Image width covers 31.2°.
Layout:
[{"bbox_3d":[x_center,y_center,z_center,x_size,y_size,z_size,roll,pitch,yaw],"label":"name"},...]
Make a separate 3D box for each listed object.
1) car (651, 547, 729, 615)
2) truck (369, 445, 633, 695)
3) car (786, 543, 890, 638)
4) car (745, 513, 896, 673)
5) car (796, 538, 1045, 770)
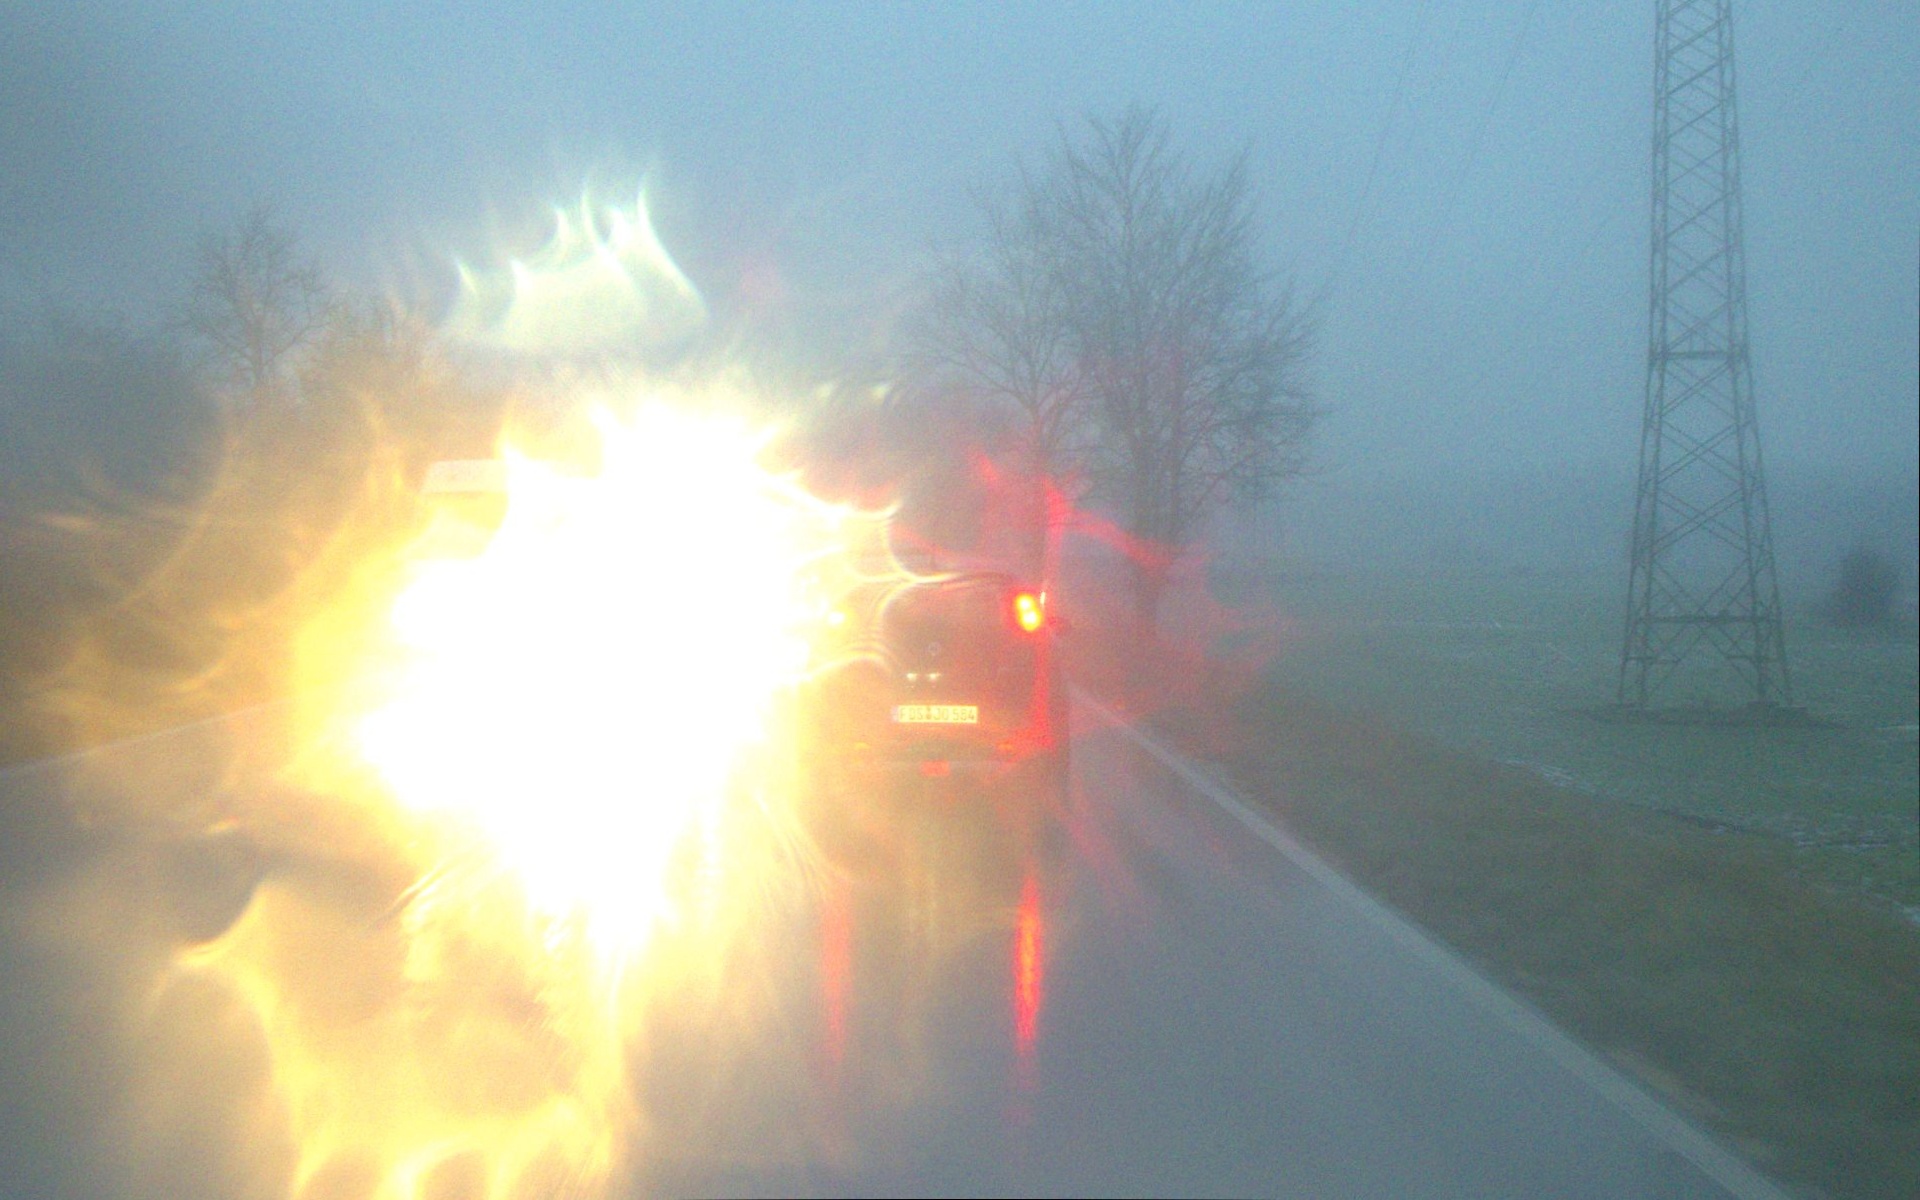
[{"bbox_3d":[-7.140,-0.526,91.319,1.785,1.745,4.258,0,1,-1],"label":"car"},{"bbox_3d":[-4.809,-0.331,36.790,2.238,2.459,5.374,0,1,-2],"label":"truck"},{"bbox_3d":[-2.305,-0.210,64.316,1.863,1.694,4.468,0,1,-2],"label":"car"},{"bbox_3d":[-1.797,-0.114,45.370,1.852,2.007,4.000,0,1,0],"label":"car"},{"bbox_3d":[-0.251,0.305,22.435,1.500,1.393,3.200,0,1,0],"label":"car"}]
